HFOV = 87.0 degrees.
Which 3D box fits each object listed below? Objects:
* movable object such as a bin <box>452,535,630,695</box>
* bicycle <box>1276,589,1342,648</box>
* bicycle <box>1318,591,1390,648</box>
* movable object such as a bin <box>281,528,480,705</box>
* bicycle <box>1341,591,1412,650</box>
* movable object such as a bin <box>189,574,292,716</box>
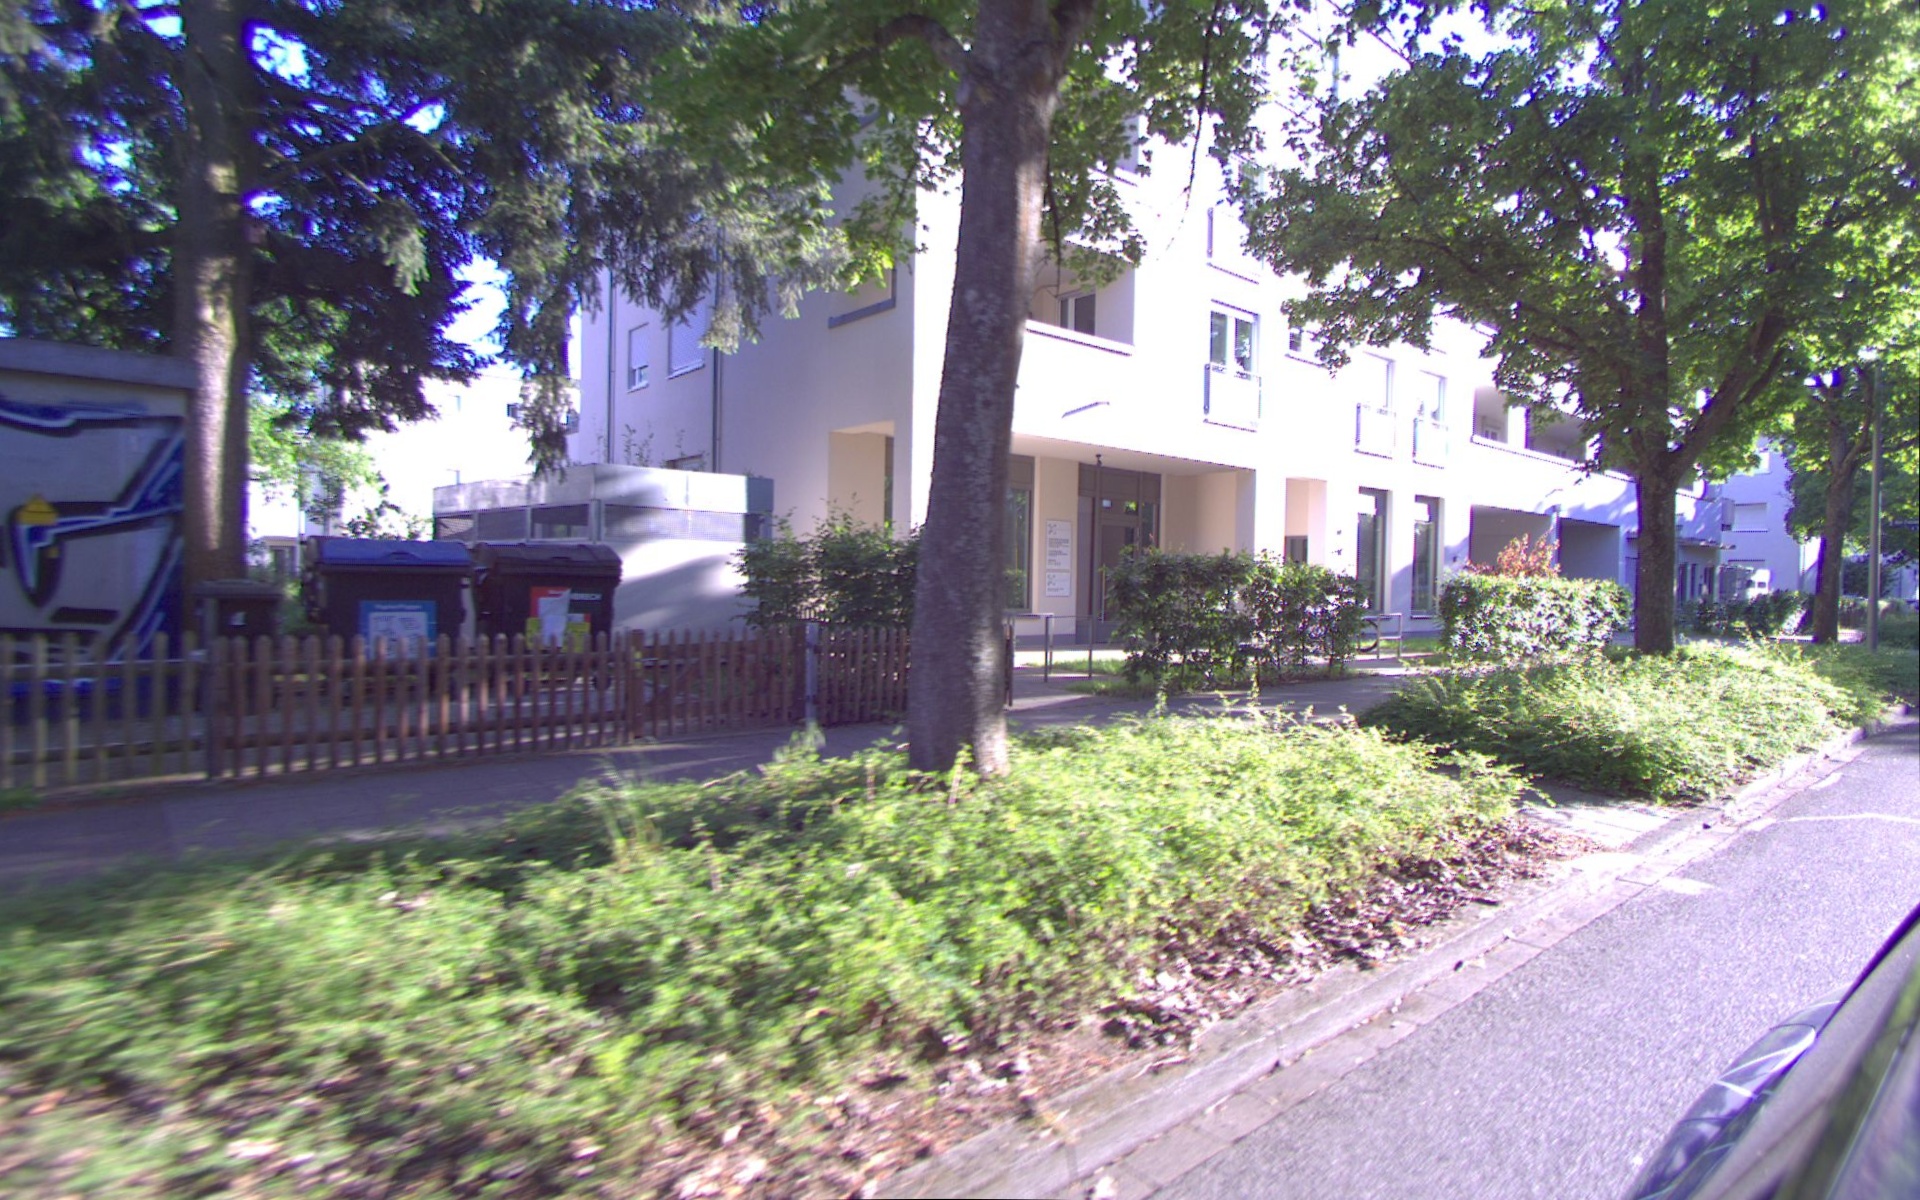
[{"bbox_3d":[-4.143,0.108,10.013,1.343,1.444,1.081,0,3,-42],"label":"movable object such as a bin"},{"bbox_3d":[6.959,0.342,20.122,1.756,1.125,0.419,0,0,-41],"label":"bicycle"},{"bbox_3d":[7.917,0.365,20.295,2.076,1.101,0.419,0,0,-41],"label":"bicycle"},{"bbox_3d":[-5.228,0.101,9.134,1.363,1.448,1.081,0,3,-42],"label":"movable object such as a bin"},{"bbox_3d":[8.283,0.384,20.064,2.076,1.101,0.419,0,0,-41],"label":"bicycle"},{"bbox_3d":[-5.673,0.332,7.980,0.604,1.042,0.539,0,3,-42],"label":"movable object such as a bin"}]
